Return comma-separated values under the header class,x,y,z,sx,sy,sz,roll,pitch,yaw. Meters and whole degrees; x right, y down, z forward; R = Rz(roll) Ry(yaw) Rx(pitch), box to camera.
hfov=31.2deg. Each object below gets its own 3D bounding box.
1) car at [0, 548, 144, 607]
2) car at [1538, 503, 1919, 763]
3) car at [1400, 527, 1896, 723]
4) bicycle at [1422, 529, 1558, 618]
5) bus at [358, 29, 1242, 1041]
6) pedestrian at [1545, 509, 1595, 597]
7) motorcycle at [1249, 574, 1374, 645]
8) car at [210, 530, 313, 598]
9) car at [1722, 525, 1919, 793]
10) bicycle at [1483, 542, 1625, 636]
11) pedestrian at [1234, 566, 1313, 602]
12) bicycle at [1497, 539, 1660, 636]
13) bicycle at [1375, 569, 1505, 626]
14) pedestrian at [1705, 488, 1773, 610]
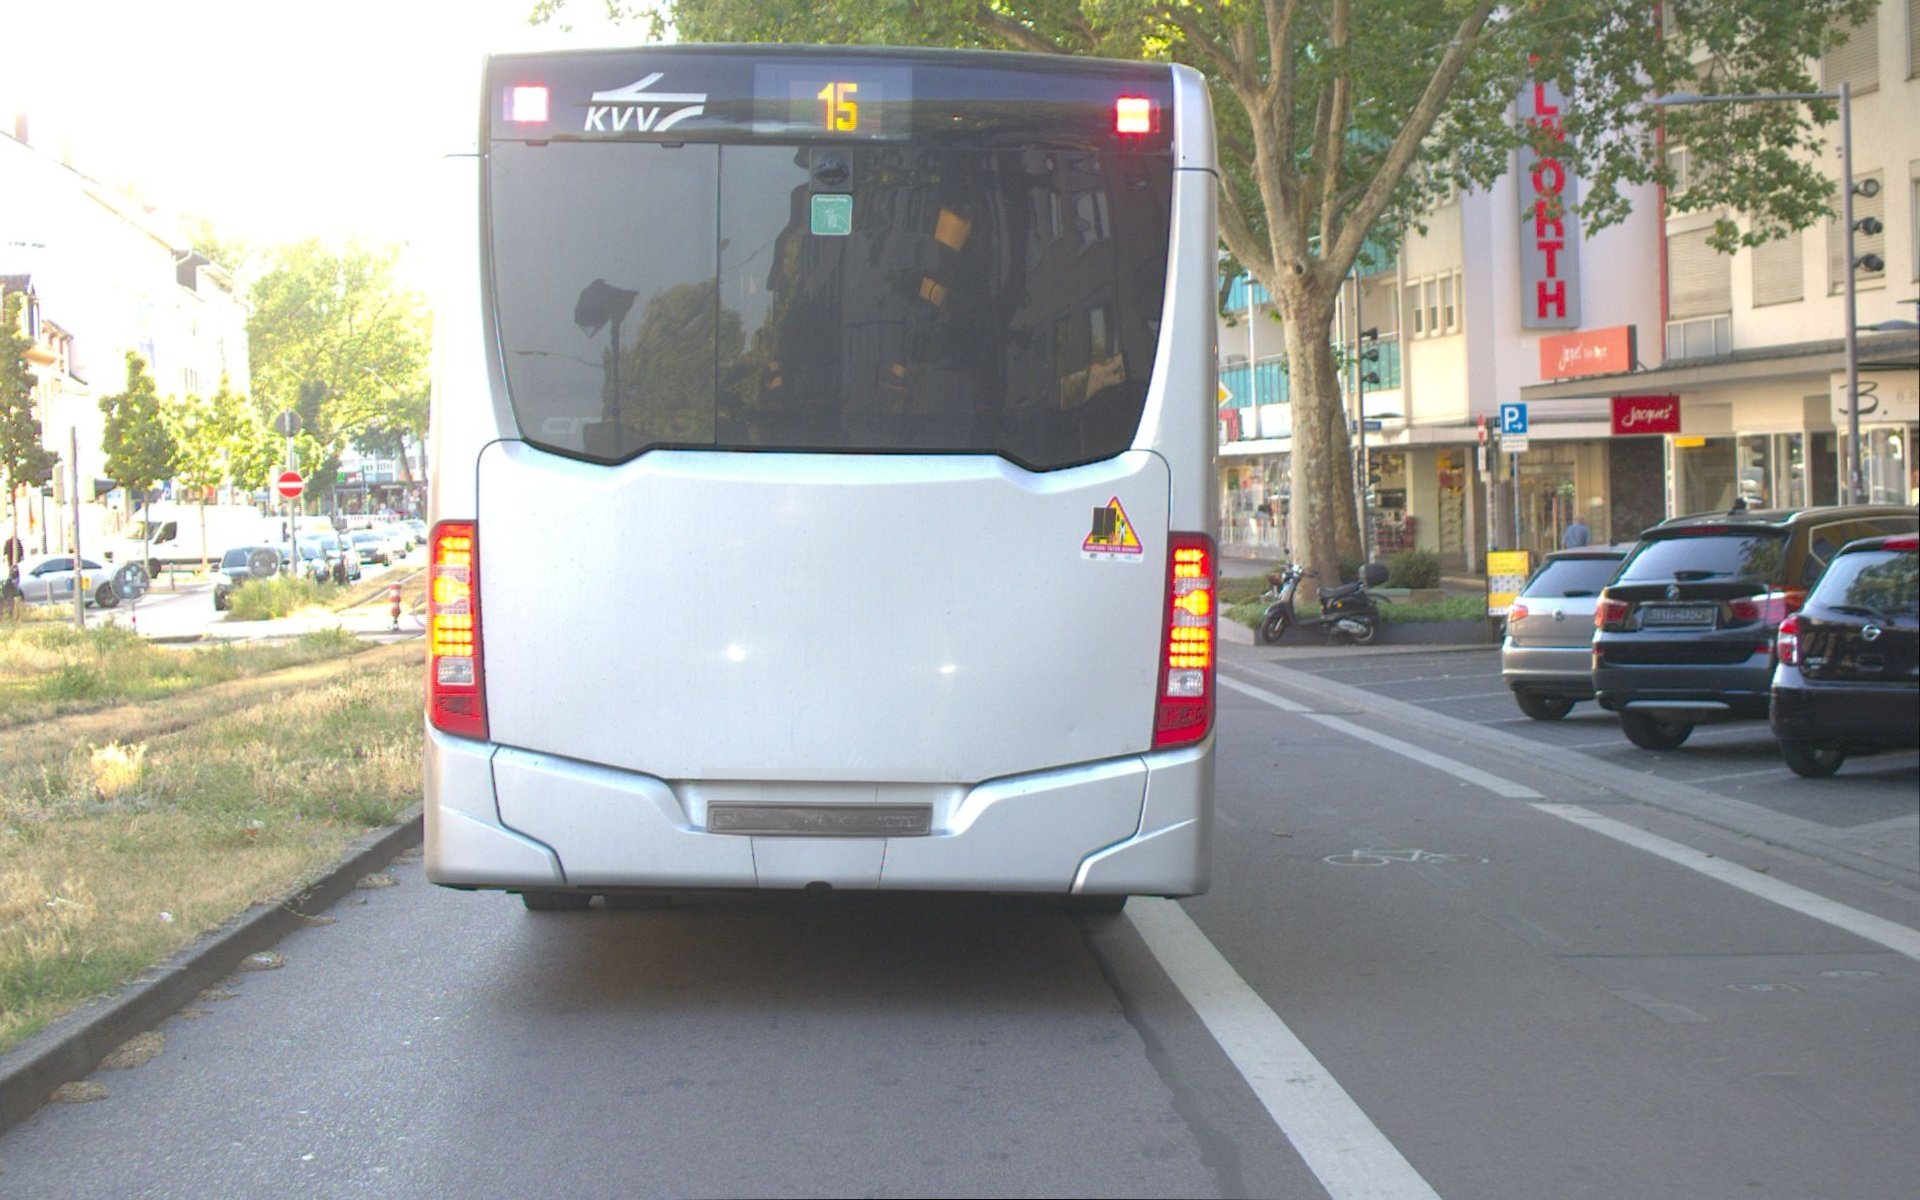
class,x,y,z,sx,sy,sz,roll,pitch,yaw
car,-23.913,-0.587,89.934,4.538,1.407,1.999,-2,2,-38
car,6.159,0.165,24.496,4.140,1.675,1.809,-2,1,-42
car,5.811,0.167,28.828,4.165,1.446,1.809,-2,1,-39
bicycle,7.639,-0.388,49.618,1.877,1.185,0.711,-3,1,7
bus,-0.520,-0.291,14.027,2.678,3.073,7.115,0,2,-1
pedestrian,11.951,-0.928,67.371,0.747,1.673,0.835,-1,3,-8
motorcycle,4.731,0.122,46.301,1.570,0.889,0.544,-2,1,-4
car,-16.871,-0.888,83.137,1.722,1.504,3.476,-4,1,0
car,6.558,0.292,21.396,3.598,1.535,1.741,-2,1,-42
bicycle,8.385,-0.153,48.562,1.785,1.185,0.672,-4,1,-9
pedestrian,5.241,-0.269,57.502,1.254,0.587,0.482,-1,1,-3
bicycle,8.489,-0.176,47.270,2.081,1.228,0.831,-2,1,4
bicycle,7.093,-0.042,50.815,1.877,0.762,0.711,-1,4,7
pedestrian,11.633,-0.766,51.352,0.780,1.787,0.764,-1,1,-1
